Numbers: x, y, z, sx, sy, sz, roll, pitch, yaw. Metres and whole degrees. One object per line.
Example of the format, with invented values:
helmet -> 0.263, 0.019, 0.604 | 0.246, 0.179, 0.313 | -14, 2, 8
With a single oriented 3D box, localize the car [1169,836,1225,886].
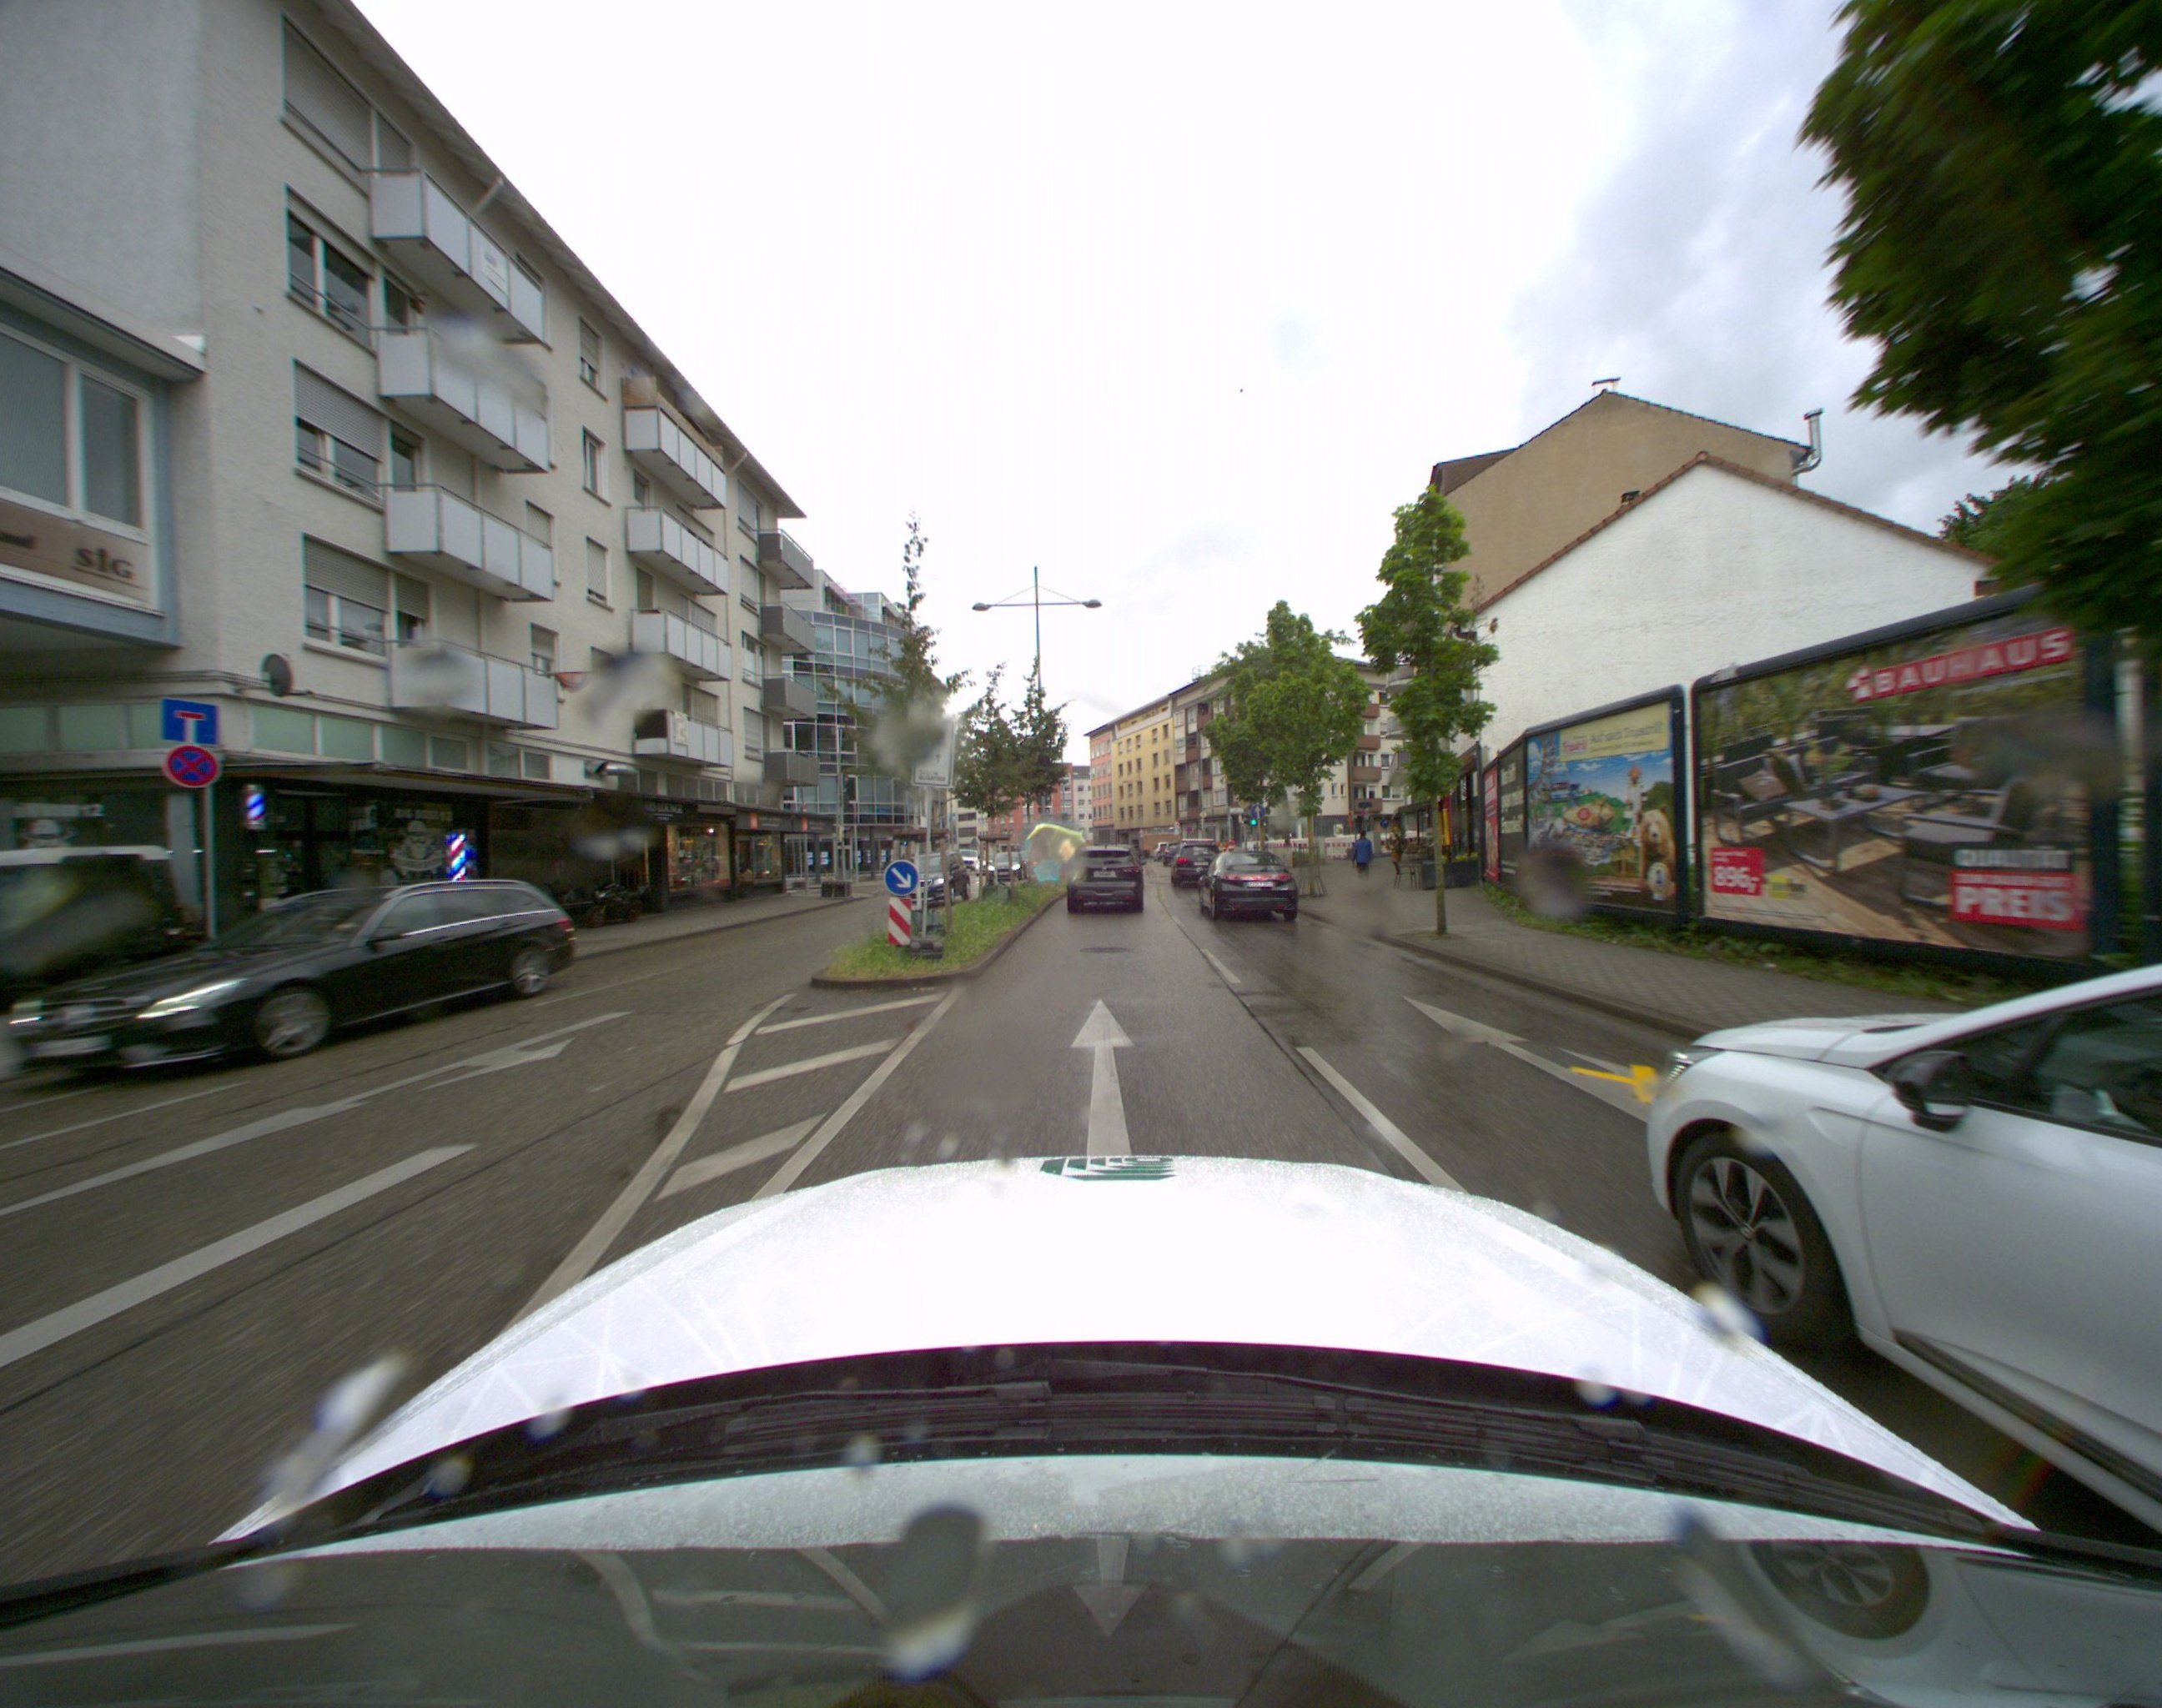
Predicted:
car -> 4.438, 0.213, 31.518 | 1.823, 1.805, 3.722 | 0, 1, 3

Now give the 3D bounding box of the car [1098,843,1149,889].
car -> 1.572, 0.408, 30.682 | 1.816, 1.600, 3.720 | 0, 0, 2

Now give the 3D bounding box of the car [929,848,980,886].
car -> -6.021, 0.592, 39.226 | 1.626, 1.591, 3.938 | -4, 0, 1

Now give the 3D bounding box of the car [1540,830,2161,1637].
car -> 2.786, 0.698, 1.562 | 1.659, 1.396, 3.868 | -3, 1, 1

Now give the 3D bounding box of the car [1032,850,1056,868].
car -> -2.975, 0.395, 66.355 | 1.635, 1.321, 3.349 | -3, 0, 1

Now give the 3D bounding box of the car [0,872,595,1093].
car -> -7.656, 1.061, 8.777 | 1.701, 1.467, 4.831 | -5, 0, 2

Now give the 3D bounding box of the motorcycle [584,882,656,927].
motorcycle -> -11.636, 1.261, 20.632 | 0.523, 0.995, 2.138 | 0, 0, 3

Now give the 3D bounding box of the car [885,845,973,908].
car -> -4.552, 0.615, 24.947 | 1.677, 1.661, 4.098 | -4, 0, 2

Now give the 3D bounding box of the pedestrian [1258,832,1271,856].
pedestrian -> 15.021, -0.815, 66.699 | 0.819, 2.013, 0.839 | 0, 1, -1

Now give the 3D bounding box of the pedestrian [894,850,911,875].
pedestrian -> -11.792, 0.545, 53.805 | 0.786, 1.591, 0.755 | -3, 0, -35

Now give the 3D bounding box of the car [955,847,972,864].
car -> -10.905, 0.145, 75.717 | 1.549, 1.570, 3.339 | 0, 0, -8

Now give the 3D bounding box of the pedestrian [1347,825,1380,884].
pedestrian -> 8.763, 0.003, 25.296 | 0.785, 1.755, 0.875 | -3, 0, 14

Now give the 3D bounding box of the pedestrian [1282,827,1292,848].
pedestrian -> 17.493, -1.382, 69.098 | 0.531, 1.769, 0.617 | 0, 1, -29

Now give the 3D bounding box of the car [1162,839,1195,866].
car -> 6.081, -0.126, 51.252 | 1.823, 1.562, 3.722 | 0, 1, 3

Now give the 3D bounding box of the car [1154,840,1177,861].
car -> 6.893, -0.329, 66.877 | 1.821, 1.683, 3.724 | 0, 1, 5

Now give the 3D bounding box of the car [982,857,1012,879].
car -> -5.673, 0.926, 55.221 | 1.544, 1.290, 3.349 | -3, 0, 1

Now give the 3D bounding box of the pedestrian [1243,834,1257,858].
pedestrian -> 13.931, -0.652, 67.050 | 0.823, 2.013, 0.835 | 0, 1, -17

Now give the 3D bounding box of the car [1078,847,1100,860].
car -> 0.825, -0.028, 88.452 | 1.642, 1.344, 3.335 | -3, 0, -11

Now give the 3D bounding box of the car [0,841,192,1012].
car -> -14.465, 0.934, 10.698 | 3.945, 2.034, 1.582 | -2, 0, 4

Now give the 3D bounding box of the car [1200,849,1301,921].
car -> 3.644, 0.603, 18.112 | 1.778, 1.400, 3.724 | -1, 0, 5

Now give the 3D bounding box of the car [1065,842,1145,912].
car -> 0.622, 0.513, 20.559 | 1.816, 1.600, 3.720 | 0, 0, 2

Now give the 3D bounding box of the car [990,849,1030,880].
car -> -3.608, 0.513, 41.876 | 1.527, 1.412, 3.938 | -4, 0, 1

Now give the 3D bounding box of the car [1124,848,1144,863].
car -> 5.582, 0.137, 86.121 | 1.704, 1.611, 3.725 | 0, 1, -3

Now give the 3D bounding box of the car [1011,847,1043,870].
car -> -3.405, 0.274, 52.154 | 1.664, 1.369, 3.753 | -3, 0, 1
